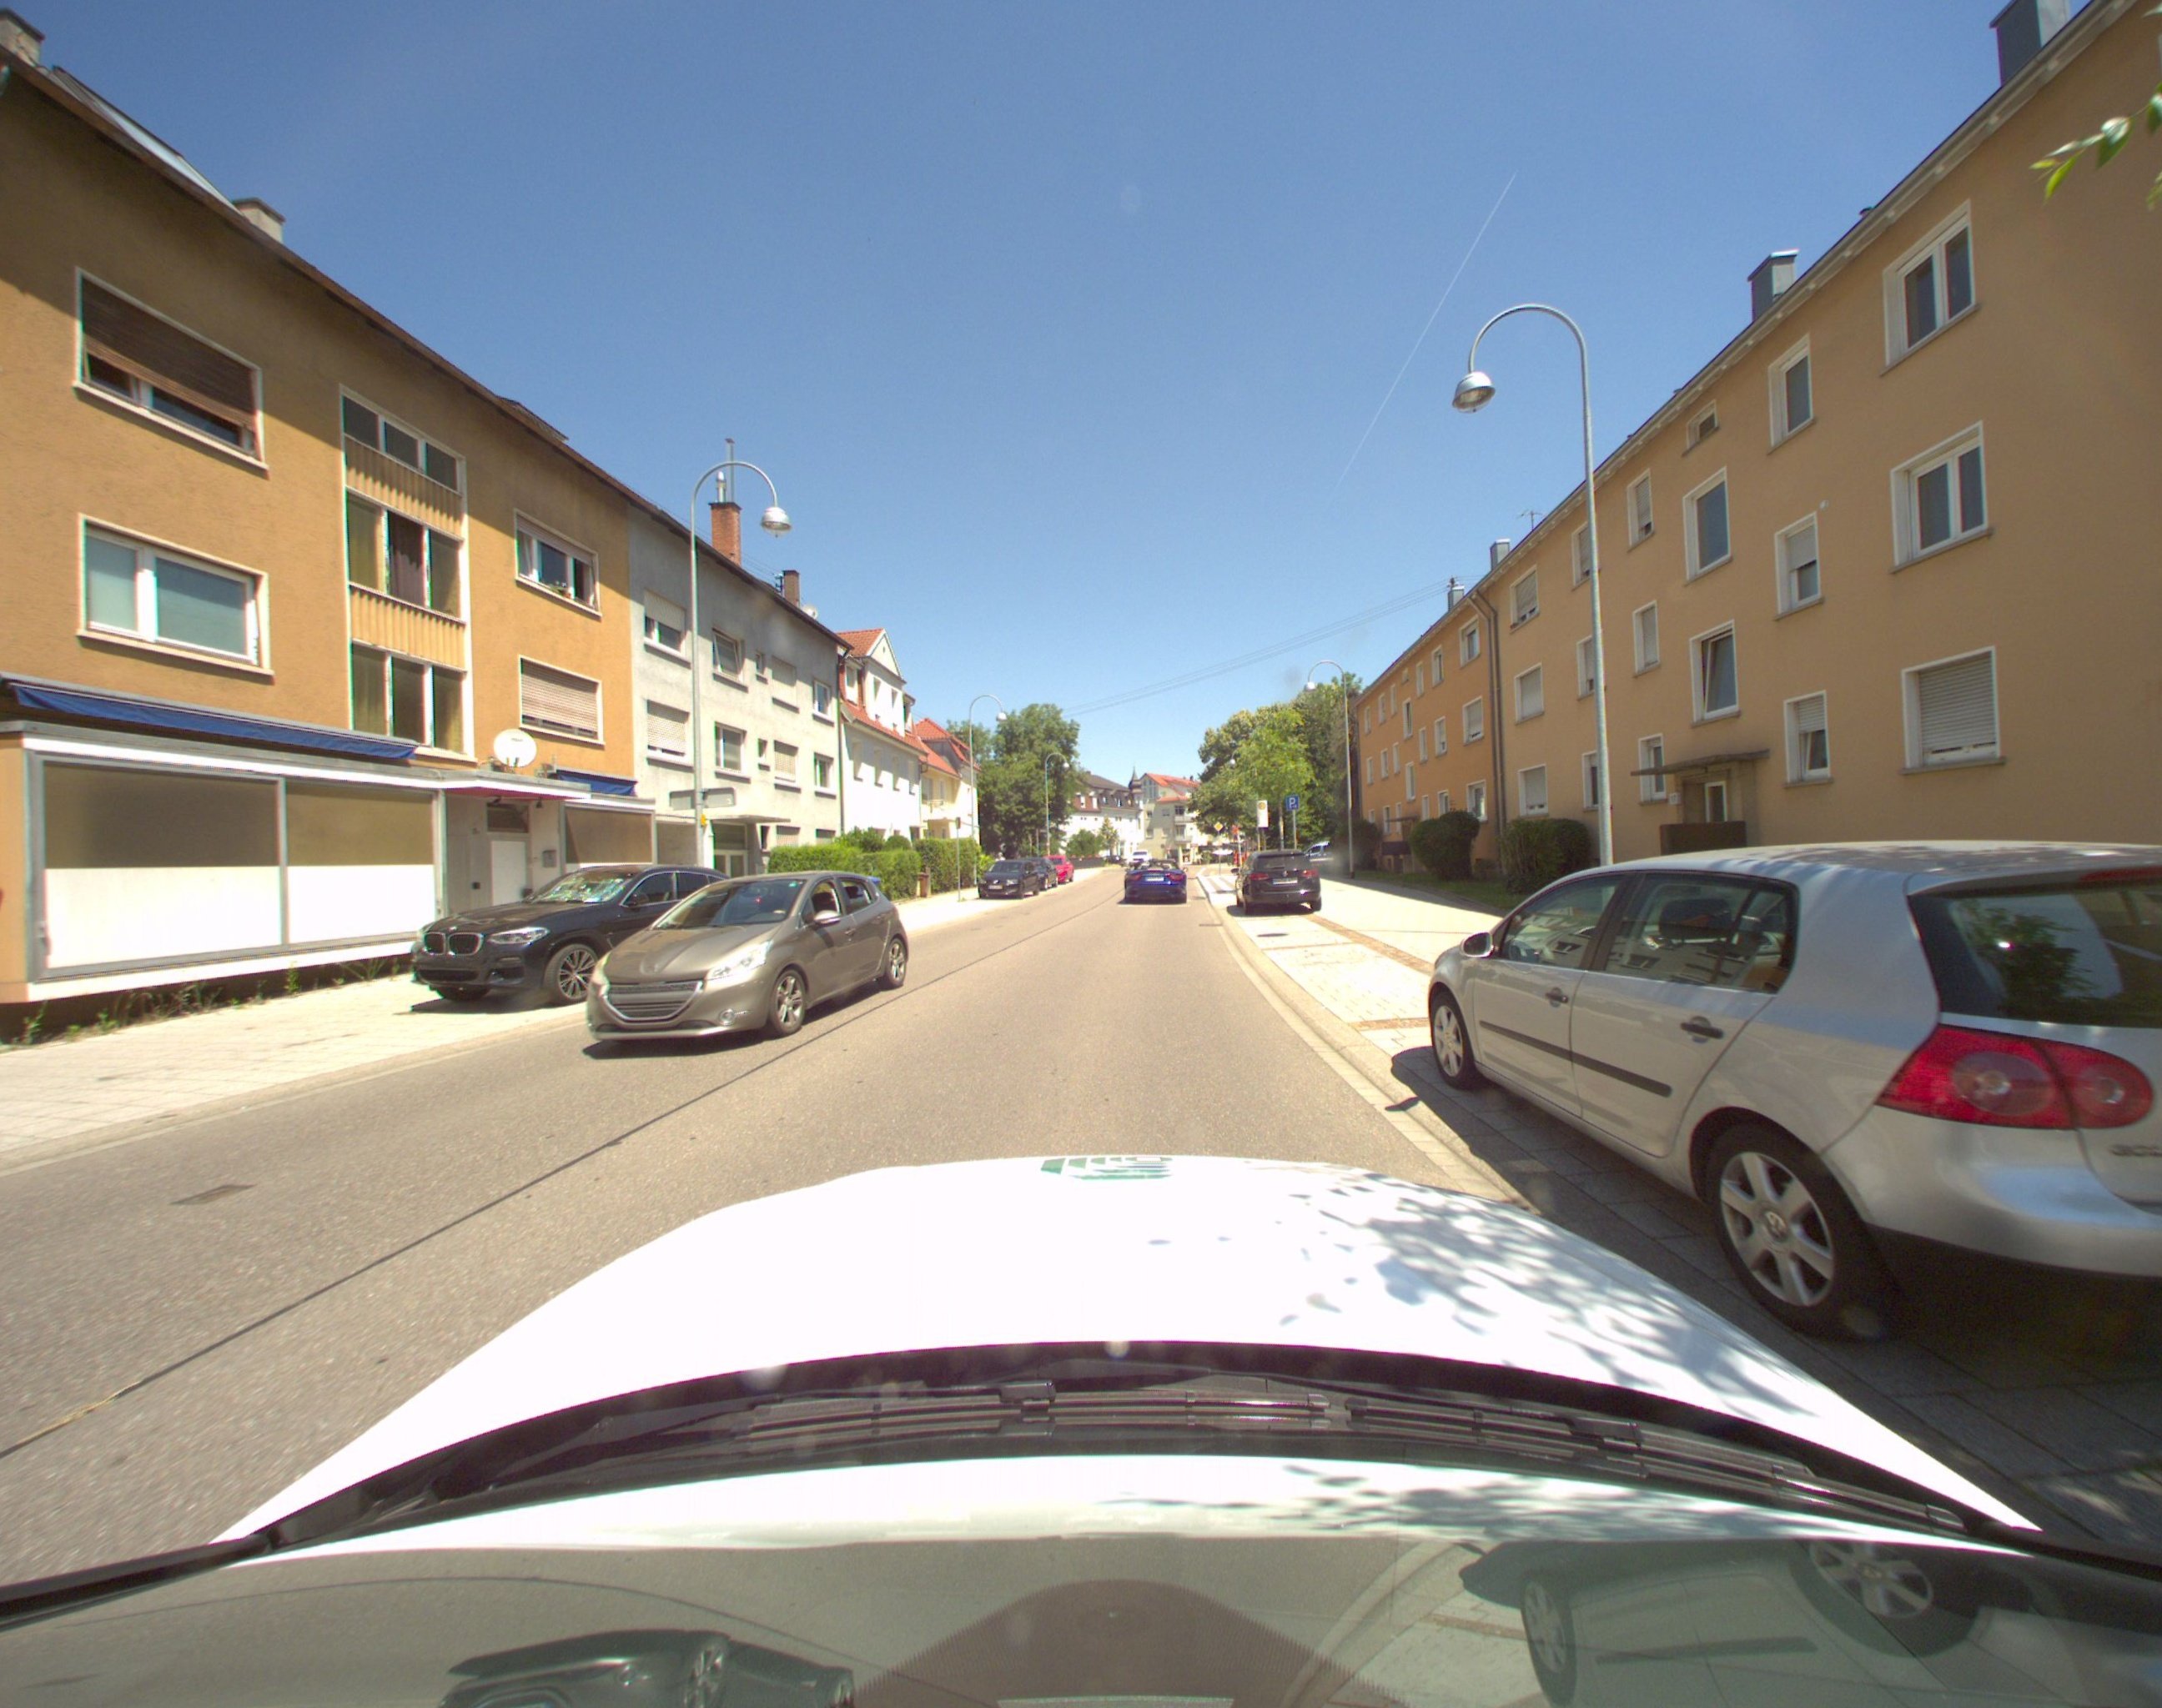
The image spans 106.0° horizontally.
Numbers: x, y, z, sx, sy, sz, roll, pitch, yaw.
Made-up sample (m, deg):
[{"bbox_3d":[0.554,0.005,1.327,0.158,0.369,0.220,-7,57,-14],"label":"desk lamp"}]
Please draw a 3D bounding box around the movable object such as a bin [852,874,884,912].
[{"bbox_3d":[-6.284,1.141,24.069,0.669,1.048,0.653,-3,0,6],"label":"movable object such as a bin"}]

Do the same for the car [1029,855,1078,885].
[{"bbox_3d":[-1.428,0.805,43.785,1.867,1.479,4.747,1,0,7],"label":"car"}]

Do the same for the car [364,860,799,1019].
[{"bbox_3d":[-6.432,0.941,11.446,2.069,1.614,5.130,-1,0,16],"label":"car"}]

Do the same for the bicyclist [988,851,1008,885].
[{"bbox_3d":[-4.114,0.698,40.492,0.778,1.659,0.836,-2,-1,5],"label":"bicyclist"}]

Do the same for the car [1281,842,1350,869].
[{"bbox_3d":[16.367,0.147,57.058,4.325,1.839,1.749,0,-1,-2],"label":"car"}]

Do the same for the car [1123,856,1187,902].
[{"bbox_3d":[2.442,0.750,26.080,1.860,1.342,4.605,-1,-1,7],"label":"car"}]

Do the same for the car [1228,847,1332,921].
[{"bbox_3d":[4.819,0.651,20.431,1.824,1.504,5.073,-4,0,7],"label":"car"}]

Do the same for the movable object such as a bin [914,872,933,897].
[{"bbox_3d":[-5.999,1.160,31.076,0.491,0.912,0.707,-2,0,7],"label":"movable object such as a bin"}]

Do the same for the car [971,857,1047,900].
[{"bbox_3d":[-2.693,0.887,31.473,1.776,1.459,4.210,1,1,11],"label":"car"}]

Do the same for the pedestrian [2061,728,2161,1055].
[{"bbox_3d":[6.529,0.202,4.558,0.817,1.853,0.985,-2,-1,3],"label":"pedestrian"}]

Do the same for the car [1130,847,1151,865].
[{"bbox_3d":[5.682,0.200,77.431,1.868,1.597,4.366,-3,0,5],"label":"car"}]

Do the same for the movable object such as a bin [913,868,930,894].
[{"bbox_3d":[-6.376,1.091,32.634,0.464,0.990,0.615,-2,0,7],"label":"movable object such as a bin"}]

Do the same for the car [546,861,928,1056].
[{"bbox_3d":[-3.157,0.868,8.508,1.721,1.411,4.010,-4,0,9],"label":"car"}]

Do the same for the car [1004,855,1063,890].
[{"bbox_3d":[-2.133,0.800,37.895,1.854,1.461,5.317,0,1,6],"label":"car"}]

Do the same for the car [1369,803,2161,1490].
[{"bbox_3d":[3.047,0.633,4.009,1.806,1.477,4.510,-3,-1,3],"label":"car"}]
